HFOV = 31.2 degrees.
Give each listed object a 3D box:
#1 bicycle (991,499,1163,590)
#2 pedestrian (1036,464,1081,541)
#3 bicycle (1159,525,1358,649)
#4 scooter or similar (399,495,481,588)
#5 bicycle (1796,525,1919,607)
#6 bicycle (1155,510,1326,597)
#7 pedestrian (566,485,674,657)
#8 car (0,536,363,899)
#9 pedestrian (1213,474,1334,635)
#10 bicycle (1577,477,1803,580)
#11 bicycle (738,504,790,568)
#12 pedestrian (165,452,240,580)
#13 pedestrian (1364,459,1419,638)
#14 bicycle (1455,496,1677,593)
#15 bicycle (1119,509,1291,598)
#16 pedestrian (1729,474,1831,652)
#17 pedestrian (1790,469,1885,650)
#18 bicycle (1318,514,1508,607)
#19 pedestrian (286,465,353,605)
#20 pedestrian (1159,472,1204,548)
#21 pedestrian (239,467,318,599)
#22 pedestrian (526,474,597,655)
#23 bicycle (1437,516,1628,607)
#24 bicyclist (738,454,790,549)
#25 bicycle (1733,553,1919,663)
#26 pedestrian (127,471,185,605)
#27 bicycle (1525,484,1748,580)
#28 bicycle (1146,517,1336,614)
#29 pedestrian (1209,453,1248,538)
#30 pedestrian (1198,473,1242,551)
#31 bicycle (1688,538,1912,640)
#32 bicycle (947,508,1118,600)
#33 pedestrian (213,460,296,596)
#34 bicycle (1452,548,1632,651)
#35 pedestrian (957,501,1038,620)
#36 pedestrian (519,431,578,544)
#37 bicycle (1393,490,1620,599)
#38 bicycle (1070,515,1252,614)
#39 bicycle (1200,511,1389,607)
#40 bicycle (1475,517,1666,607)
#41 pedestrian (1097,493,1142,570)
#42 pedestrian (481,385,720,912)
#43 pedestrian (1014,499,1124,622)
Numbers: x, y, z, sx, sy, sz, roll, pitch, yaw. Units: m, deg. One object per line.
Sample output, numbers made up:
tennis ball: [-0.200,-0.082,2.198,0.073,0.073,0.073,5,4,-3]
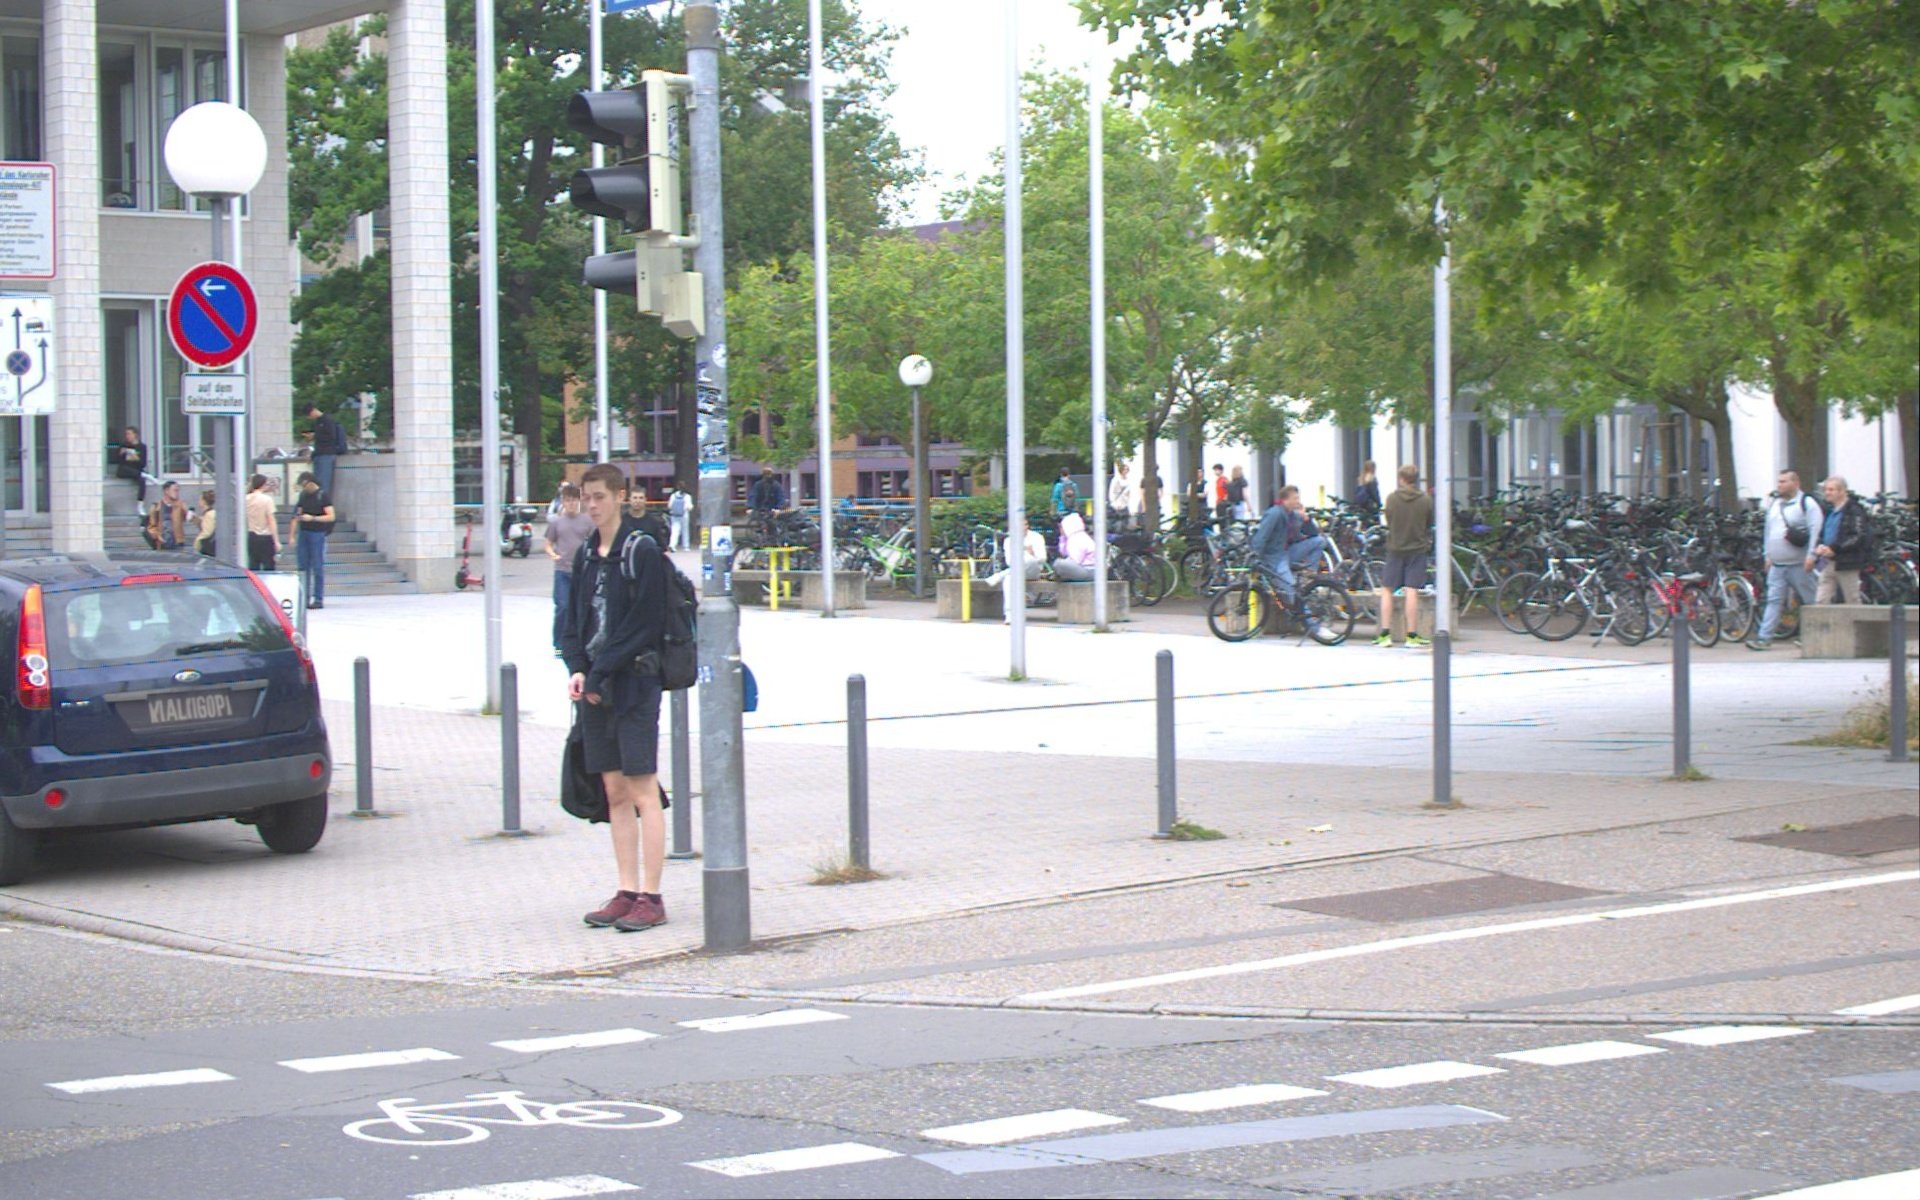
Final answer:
bicycle: [1.670,-0.816,50.016,0.745,1.166,3.108,0,3,-35]
pedestrian: [2.111,-2.084,73.588,0.660,1.635,0.666,-2,2,-39]
bicycle: [3.130,-0.152,36.306,0.456,1.166,2.413,0,4,-41]
scooter or similar: [-7.809,-0.886,51.659,0.404,1.364,1.490,3,3,26]
bicycle: [14.813,-0.535,54.786,0.745,1.166,3.108,0,3,-36]
bicycle: [4.246,-0.720,52.339,0.745,1.166,3.108,0,3,-35]
pedestrian: [-3.501,-0.304,35.466,0.906,1.706,0.694,-1,4,8]
car: [-4.625,0.470,16.924,1.622,1.496,4.105,-4,3,-36]
pedestrian: [3.388,-0.508,37.208,0.850,1.698,0.968,-3,3,-39]
bicycle: [9.309,-0.927,43.985,0.745,1.166,3.108,0,3,-35]
bicycle: [-3.434,-1.140,60.382,0.873,1.089,1.801,0,2,-2]
pedestrian: [-10.244,-1.135,46.479,0.777,1.709,0.603,-2,2,-36]
pedestrian: [4.449,-0.537,35.469,0.510,1.827,0.673,0,1,3]
bicycle: [7.495,-0.708,42.715,0.745,1.166,3.107,-1,2,-35]
bicycle: [3.659,-0.714,51.769,0.745,1.166,3.108,0,3,-35]
pedestrian: [8.016,-0.372,33.623,0.671,1.709,0.678,-2,2,-31]
pedestrian: [8.393,-0.392,32.879,0.583,1.709,0.658,-1,1,-31]
bicycle: [6.455,-0.582,49.241,0.745,1.166,3.108,0,3,-35]
pedestrian: [-8.587,-0.877,46.112,0.602,1.858,0.779,-1,1,12]
pedestrian: [4.766,-1.936,73.902,0.660,1.635,0.694,-1,2,-39]
pedestrian: [-9.298,-0.922,46.921,0.736,1.779,0.720,0,2,40]
pedestrian: [-4.079,-0.372,35.235,0.641,1.801,0.648,2,3,-5]
bicycle: [8.420,-0.580,50.732,0.745,1.166,3.108,0,3,-36]
bicyclist: [-3.435,-1.732,60.357,0.873,1.635,0.868,0,2,-2]
bicycle: [8.806,0.070,34.973,0.456,1.045,1.935,-2,3,-41]
pedestrian: [-11.067,-0.850,47.314,0.591,1.834,0.620,-1,1,-36]
bicycle: [8.492,-0.866,43.360,0.745,1.166,3.107,-1,2,-35]
bicycle: [3.837,-0.489,47.320,0.745,1.166,3.108,0,3,-35]
pedestrian: [5.248,-2.044,67.203,0.661,1.635,0.666,-1,1,11]
pedestrian: [5.532,-1.865,73.043,0.660,1.635,0.666,-1,2,-39]
bicycle: [11.078,-0.163,45.464,0.745,1.166,3.108,0,3,-35]
bicycle: [1.020,-0.674,49.571,0.745,1.166,3.108,0,3,-35]
pedestrian: [-9.301,-0.949,45.321,0.736,1.779,0.763,1,1,40]
bicycle: [6.224,-0.015,36.861,1.934,1.045,0.456,2,3,40]
pedestrian: [0.450,-0.480,41.059,0.768,1.408,0.673,0,1,22]
pedestrian: [-6.080,-1.668,50.794,0.734,1.635,0.932,2,3,-2]
bicycle: [6.629,-0.692,41.934,0.745,1.166,3.108,0,3,-35]
bicycle: [2.690,-0.488,46.420,0.620,1.166,3.108,0,3,-35]
bicycle: [4.621,-0.582,47.803,0.745,1.166,3.108,0,3,-35]
bicycle: [9.061,-0.578,51.173,0.745,1.166,3.108,0,3,-36]
pedestrian: [3.403,-1.465,73.380,0.660,1.635,0.666,-1,2,-40]
pedestrian: [-1.389,0.167,13.197,0.790,1.945,0.758,-1,1,-12]
pedestrian: [1.279,-0.473,40.460,0.968,1.415,0.850,1,2,42]
